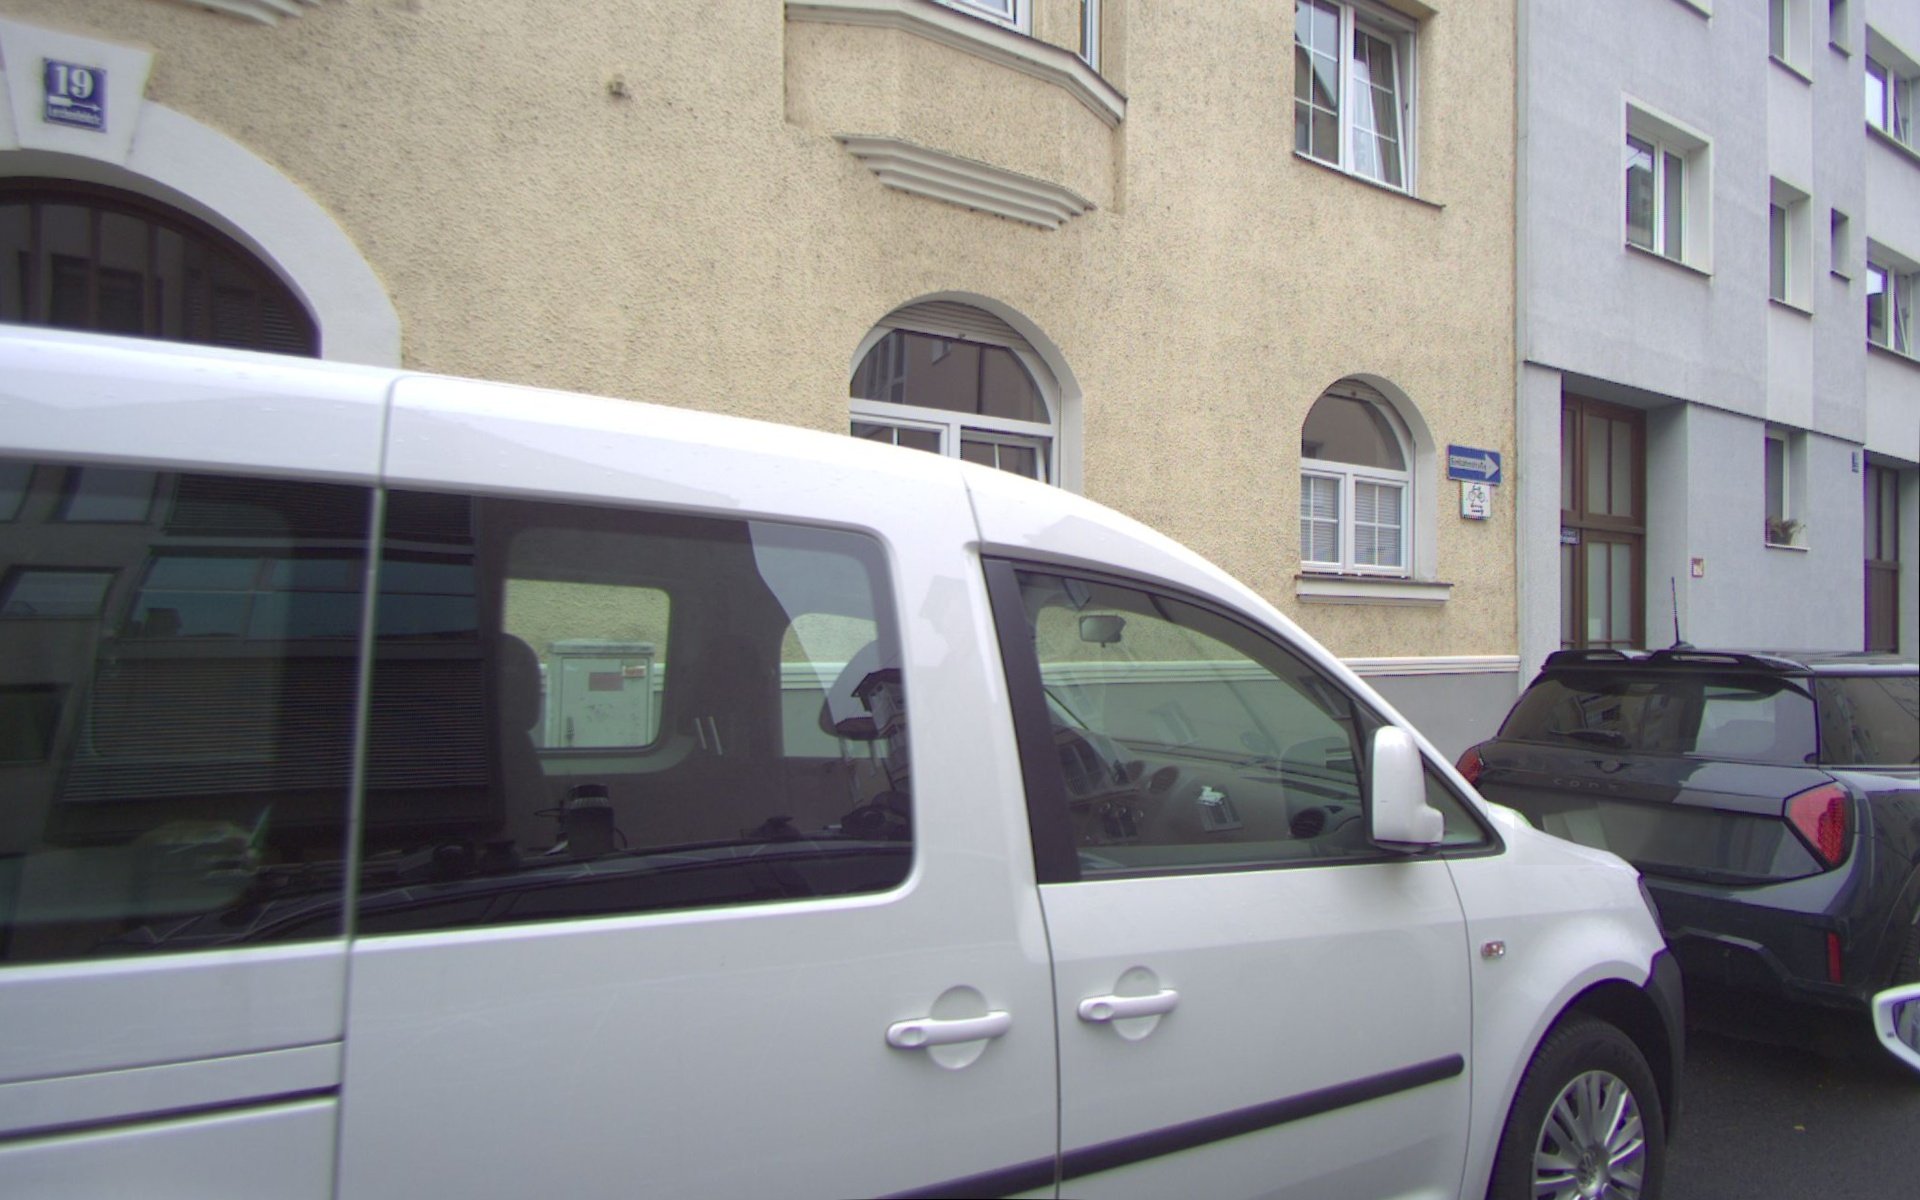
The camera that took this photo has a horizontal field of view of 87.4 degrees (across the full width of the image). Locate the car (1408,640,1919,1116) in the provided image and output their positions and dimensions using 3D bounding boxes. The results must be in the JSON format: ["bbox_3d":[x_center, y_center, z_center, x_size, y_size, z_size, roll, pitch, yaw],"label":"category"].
[{"bbox_3d":[3.998,0.959,4.718,3.692,1.429,1.644,3,-4,-31],"label":"car"}]

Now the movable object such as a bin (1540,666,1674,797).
[{"bbox_3d":[6.009,1.192,9.352,0.615,1.065,0.803,2,2,-30],"label":"movable object such as a bin"}]

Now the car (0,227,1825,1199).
[{"bbox_3d":[-0.077,0.668,2.282,4.197,1.812,1.717,3,-4,-29],"label":"car"}]
